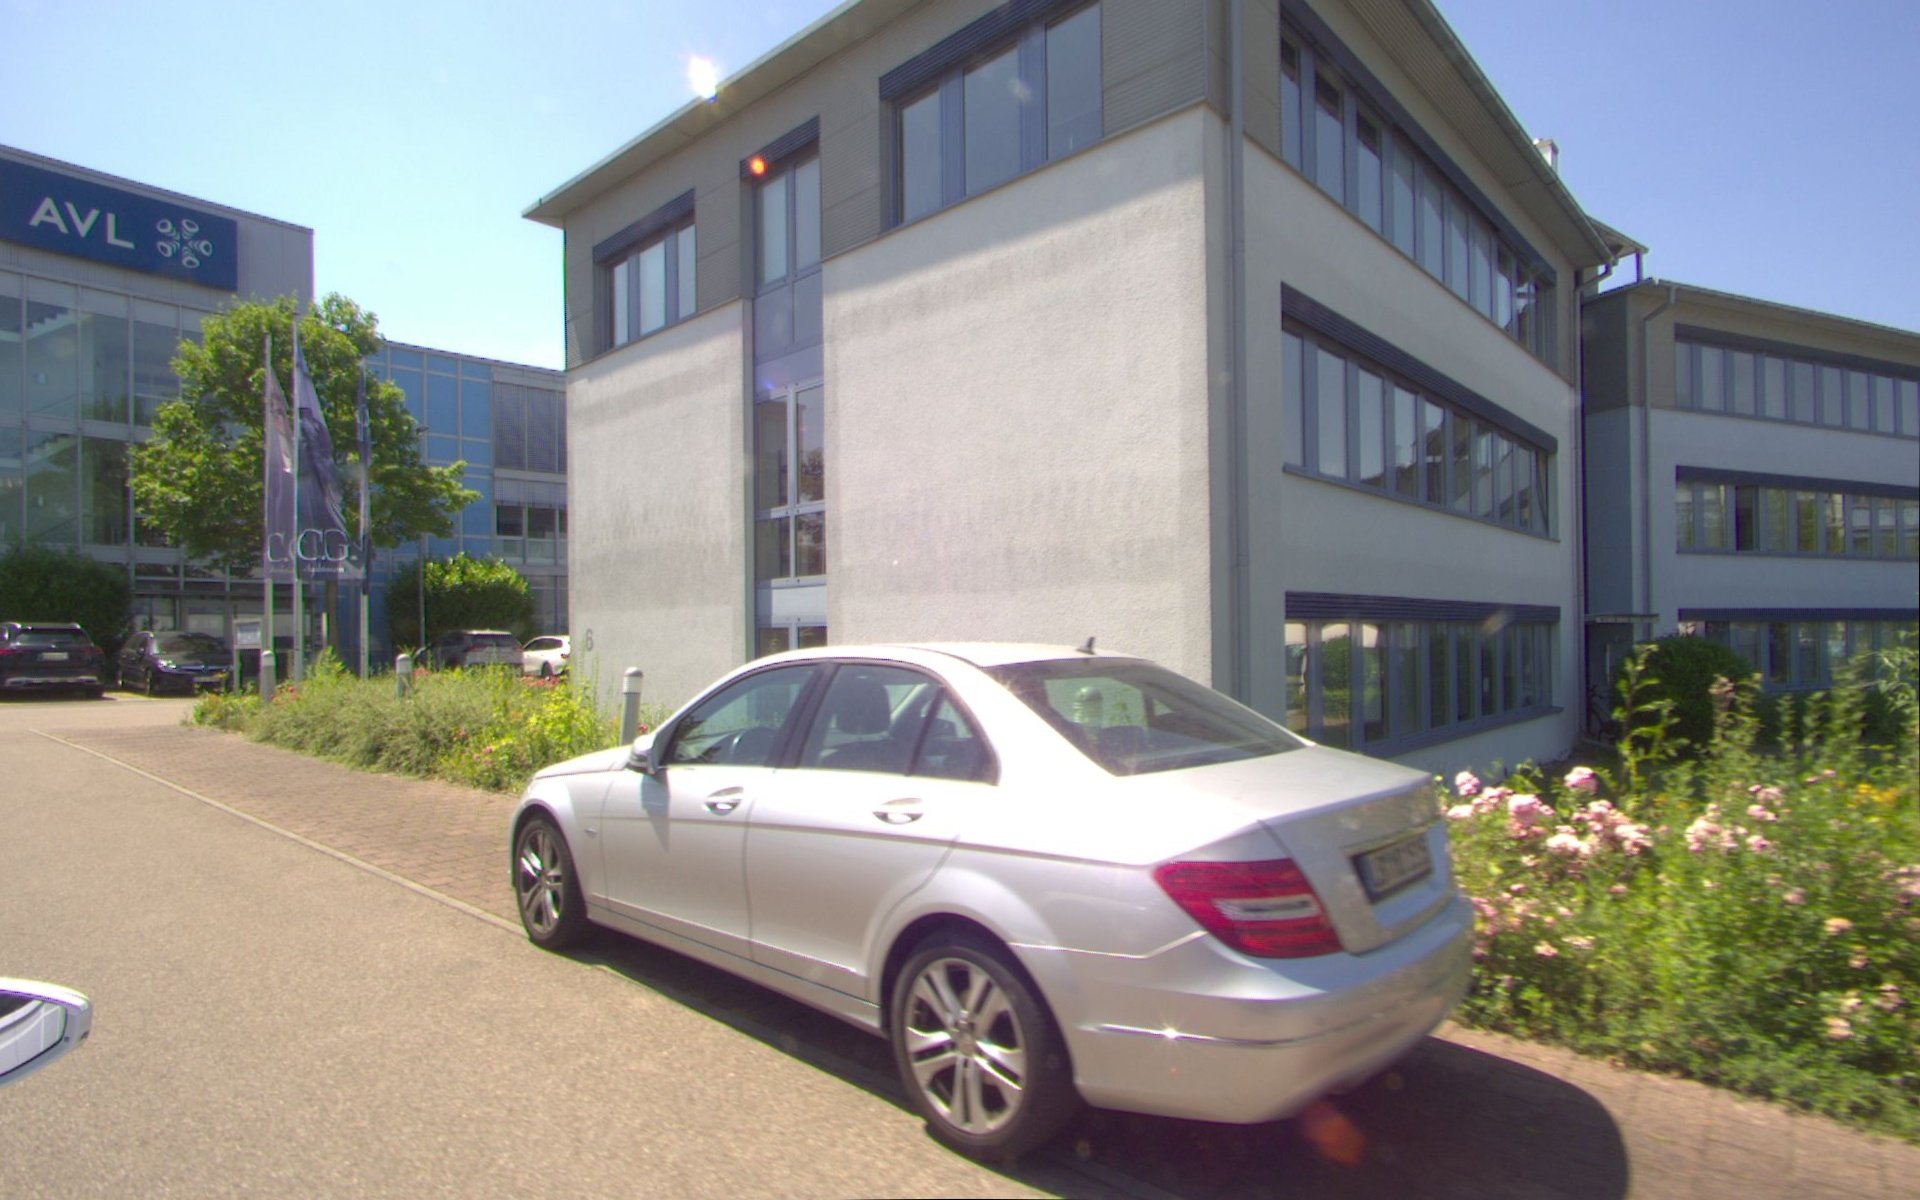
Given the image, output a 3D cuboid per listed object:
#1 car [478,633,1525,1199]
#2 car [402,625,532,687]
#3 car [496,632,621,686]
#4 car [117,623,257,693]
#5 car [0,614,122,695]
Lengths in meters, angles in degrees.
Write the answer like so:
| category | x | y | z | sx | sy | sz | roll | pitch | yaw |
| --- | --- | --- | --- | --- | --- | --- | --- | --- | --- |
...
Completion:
| category | x | y | z | sx | sy | sz | roll | pitch | yaw |
| --- | --- | --- | --- | --- | --- | --- | --- | --- | --- |
| car | -0.273 | 0.863 | 4.260 | 4.374 | 1.415 | 1.790 | -2 | -3 | 44 |
| car | -14.533 | 1.599 | 29.438 | 4.286 | 1.640 | 1.813 | 0 | -1 | 39 |
| car | -12.555 | 1.794 | 31.184 | 4.286 | 1.510 | 1.730 | 0 | -3 | 39 |
| car | -18.733 | 1.347 | 24.209 | 4.206 | 1.501 | 1.763 | 0 | -2 | 39 |
| car | -20.354 | 1.158 | 22.228 | 3.937 | 1.631 | 1.920 | 0 | -3 | 39 |
